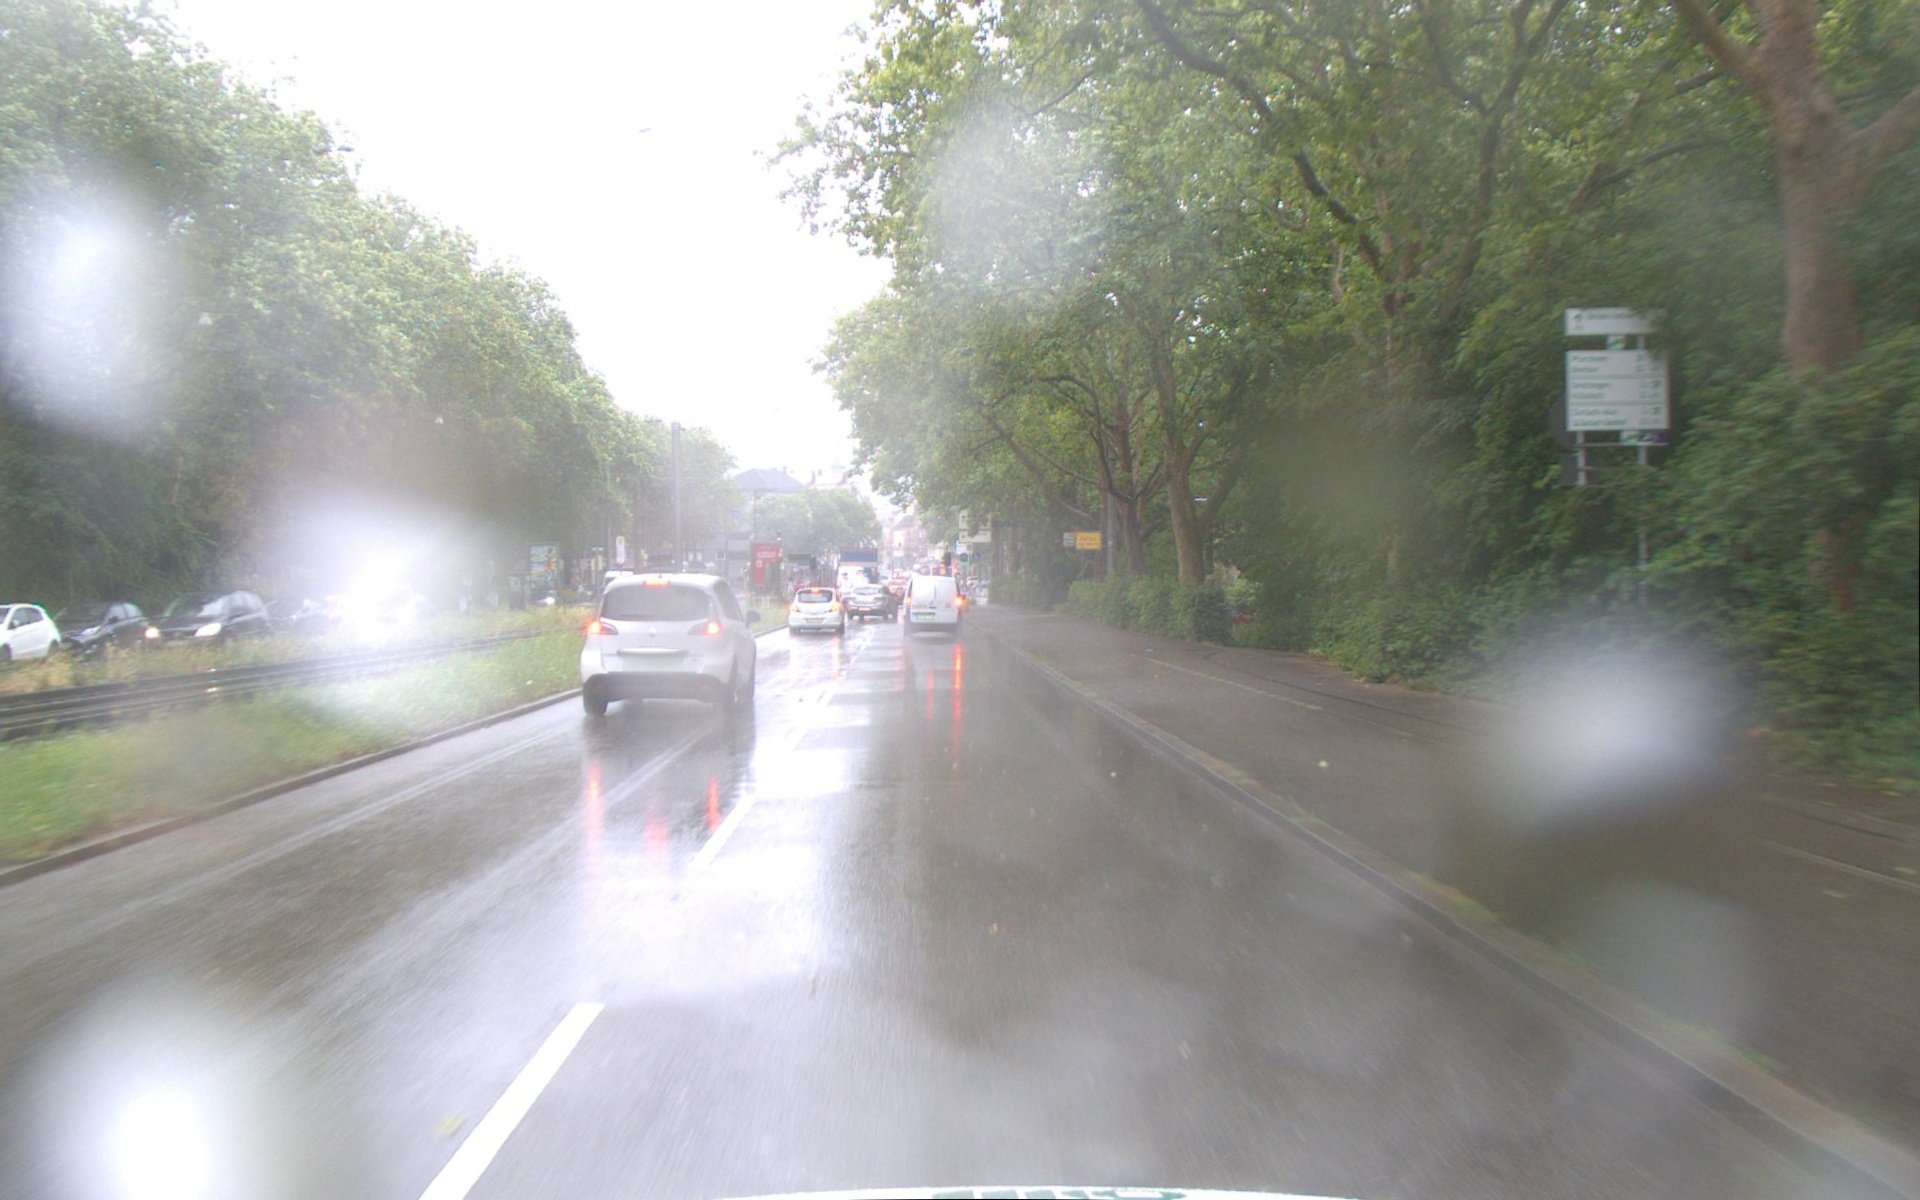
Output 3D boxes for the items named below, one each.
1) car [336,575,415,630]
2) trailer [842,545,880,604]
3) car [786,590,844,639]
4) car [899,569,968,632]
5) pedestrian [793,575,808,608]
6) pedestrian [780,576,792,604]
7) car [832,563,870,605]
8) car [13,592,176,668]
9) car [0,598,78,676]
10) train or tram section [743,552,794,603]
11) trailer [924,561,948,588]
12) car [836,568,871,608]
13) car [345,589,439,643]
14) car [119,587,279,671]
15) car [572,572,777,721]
[{"bbox_3d":[-24.130,0.087,68.439,1.993,2.129,4.797,-2,0,-7],"label":"car"},{"bbox_3d":[-6.964,-1.778,115.677,2.539,3.968,7.630,0,1,-4],"label":"trailer"},{"bbox_3d":[-4.631,0.465,53.190,1.691,1.505,3.803,0,0,-3],"label":"car"},{"bbox_3d":[-0.828,0.023,49.426,1.920,1.808,3.567,0,0,-3],"label":"car"},{"bbox_3d":[-8.741,-0.462,90.728,0.774,1.744,0.770,2,-1,-4],"label":"pedestrian"},{"bbox_3d":[-11.046,-0.659,104.805,0.701,1.775,0.750,0,0,-3],"label":"pedestrian"},{"bbox_3d":[-6.961,-1.014,106.513,2.283,2.602,6.111,0,0,-3],"label":"car"},{"bbox_3d":[-22.204,0.728,42.653,1.992,1.781,4.689,-2,0,-5],"label":"car"},{"bbox_3d":[-21.857,0.838,37.644,1.727,1.677,3.810,-2,0,-5],"label":"car"},{"bbox_3d":[-13.127,-1.613,113.990,2.902,3.342,8.355,-2,1,-4],"label":"train or tram section"},{"bbox_3d":[-2.267,-2.370,153.786,1.954,2.357,4.664,0,0,-5],"label":"trailer"},{"bbox_3d":[-6.291,-0.701,98.099,1.953,2.302,5.286,0,0,-3],"label":"car"},{"bbox_3d":[-20.033,0.533,58.520,1.992,1.781,4.689,-2,0,-5],"label":"car"},{"bbox_3d":[-17.613,0.629,38.535,1.992,1.781,4.255,-2,0,-5],"label":"car"},{"bbox_3d":[-3.434,0.510,20.645,1.826,1.652,4.262,0,0,0],"label":"car"}]
